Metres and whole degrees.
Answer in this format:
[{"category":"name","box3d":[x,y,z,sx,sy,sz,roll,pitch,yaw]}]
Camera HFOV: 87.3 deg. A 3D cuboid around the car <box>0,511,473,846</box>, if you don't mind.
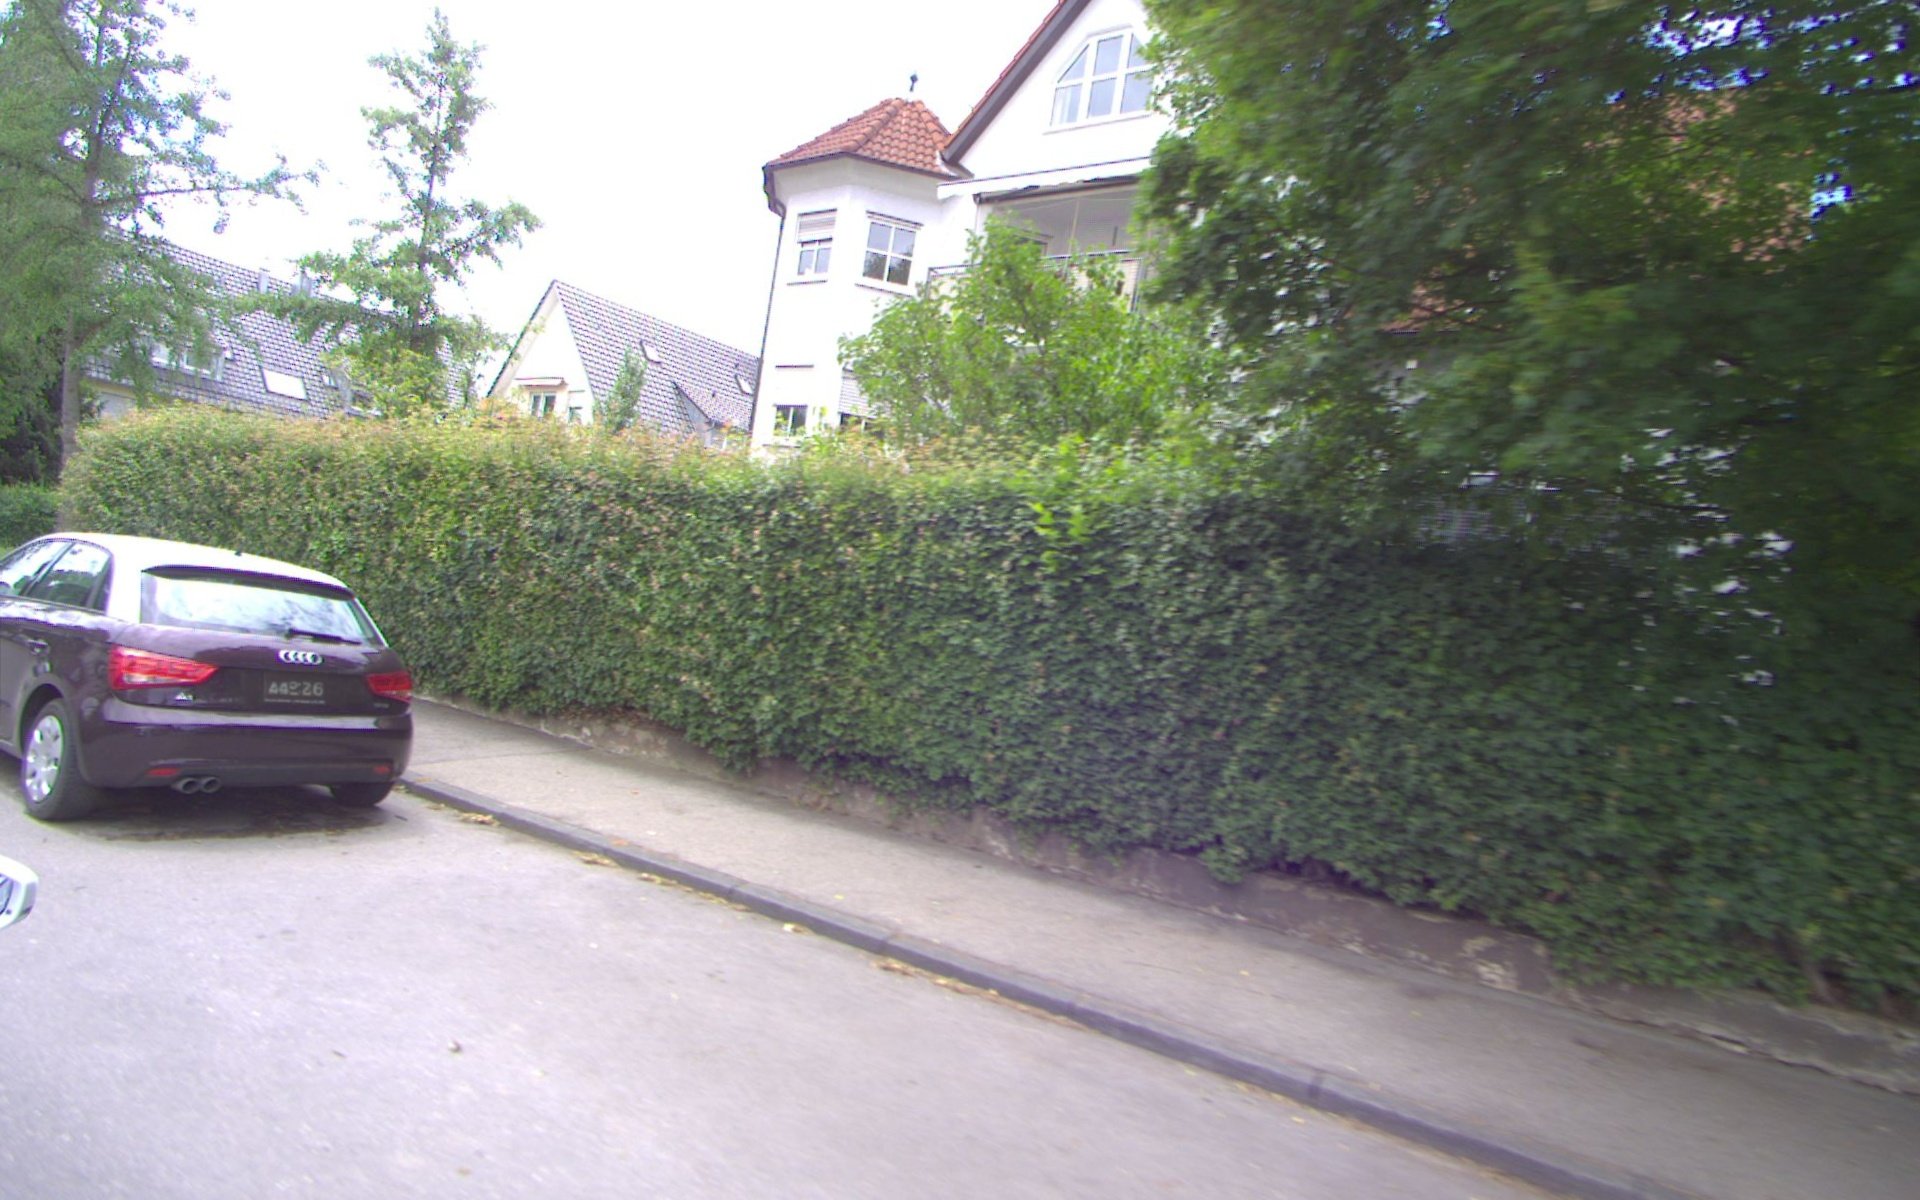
[{"category":"car","box3d":[-5.031,0.315,6.229,3.727,1.428,1.715,7,-3,31]}]
